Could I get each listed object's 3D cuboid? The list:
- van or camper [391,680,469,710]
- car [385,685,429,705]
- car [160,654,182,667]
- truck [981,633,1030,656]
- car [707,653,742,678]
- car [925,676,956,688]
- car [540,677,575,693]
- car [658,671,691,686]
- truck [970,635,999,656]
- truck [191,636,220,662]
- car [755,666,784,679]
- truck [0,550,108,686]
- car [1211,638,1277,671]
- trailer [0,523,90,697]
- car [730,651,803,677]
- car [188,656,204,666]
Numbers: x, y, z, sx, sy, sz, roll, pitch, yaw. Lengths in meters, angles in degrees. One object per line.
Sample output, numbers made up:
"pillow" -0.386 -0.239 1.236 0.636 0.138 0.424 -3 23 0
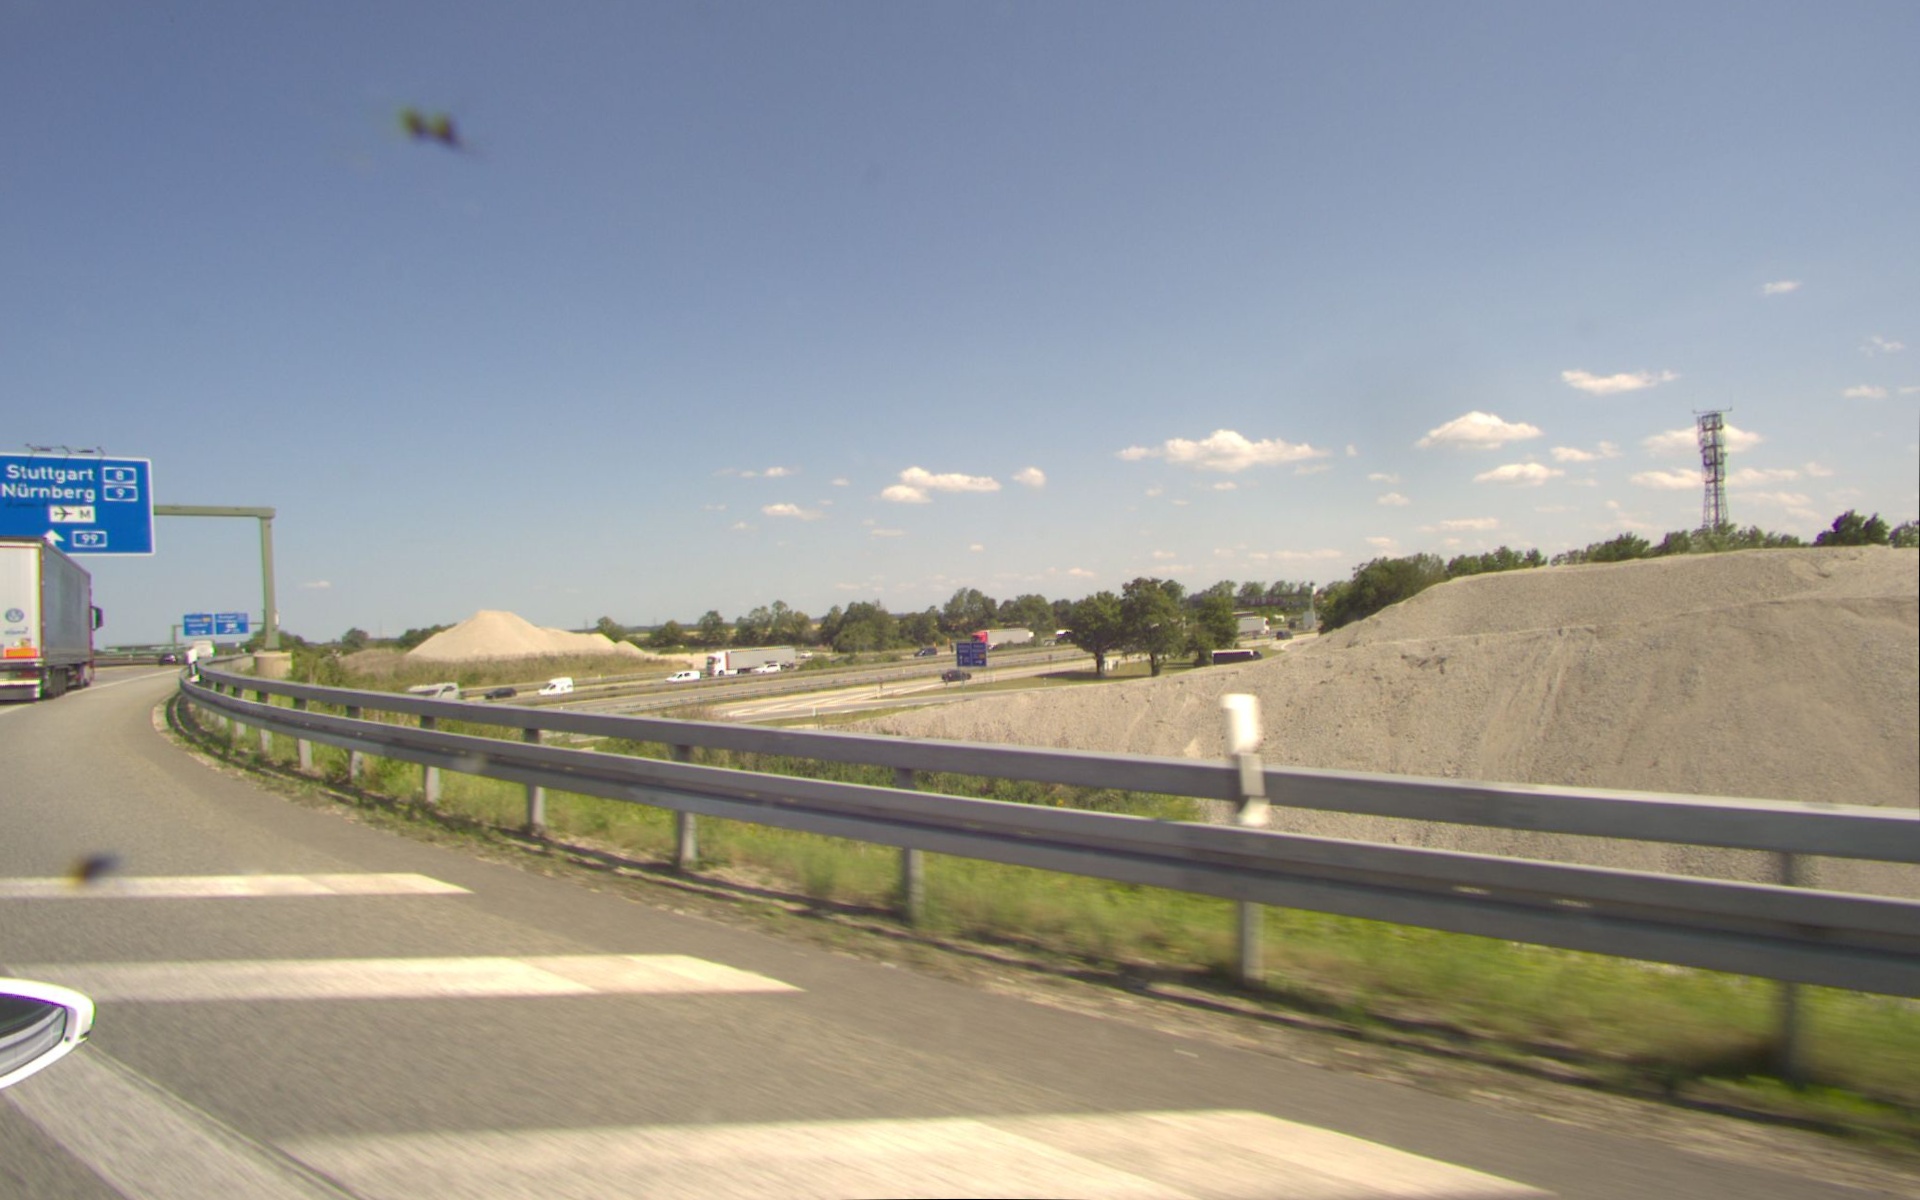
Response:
"van or camper" -67.055 11.992 126.824 8.079 3.031 2.959 -2 -4 -45
"car" -62.766 10.771 113.641 1.859 2.036 3.968 -8 -7 41
"car" -89.953 6.944 114.220 1.637 1.397 3.978 2 -5 -33
"truck" 9.810 9.486 215.503 2.841 4.117 12.458 -3 0 44
"car" -38.429 10.672 163.334 5.112 4.013 2.459 2 -3 -45
"car" -2.530 10.695 130.797 1.977 1.593 3.973 -3 -5 39
"car" -54.209 11.419 134.848 3.959 2.039 1.788 2 -3 -42
"car" -42.308 11.576 148.324 4.368 2.038 1.981 2 -4 -45
"truck" 5.142 9.601 210.683 2.841 4.118 5.900 -3 0 44
"truck" -131.389 8.637 174.466 3.506 4.195 11.190 2 -5 -35
"car" -31.537 12.077 166.058 4.368 2.038 1.981 2 -4 -45
"truck" -31.190 0.770 33.990 2.886 4.196 6.882 0 -3 -36
"car" 32.094 6.207 113.476 6.943 3.672 2.002 0 -4 10
"trailer" -26.915 0.570 28.282 2.887 4.196 11.179 0 -4 -38
"car" -32.584 10.800 169.172 12.891 4.013 2.459 2 -4 -45
"car" -118.522 9.472 155.317 1.637 1.397 3.978 2 -5 -33
